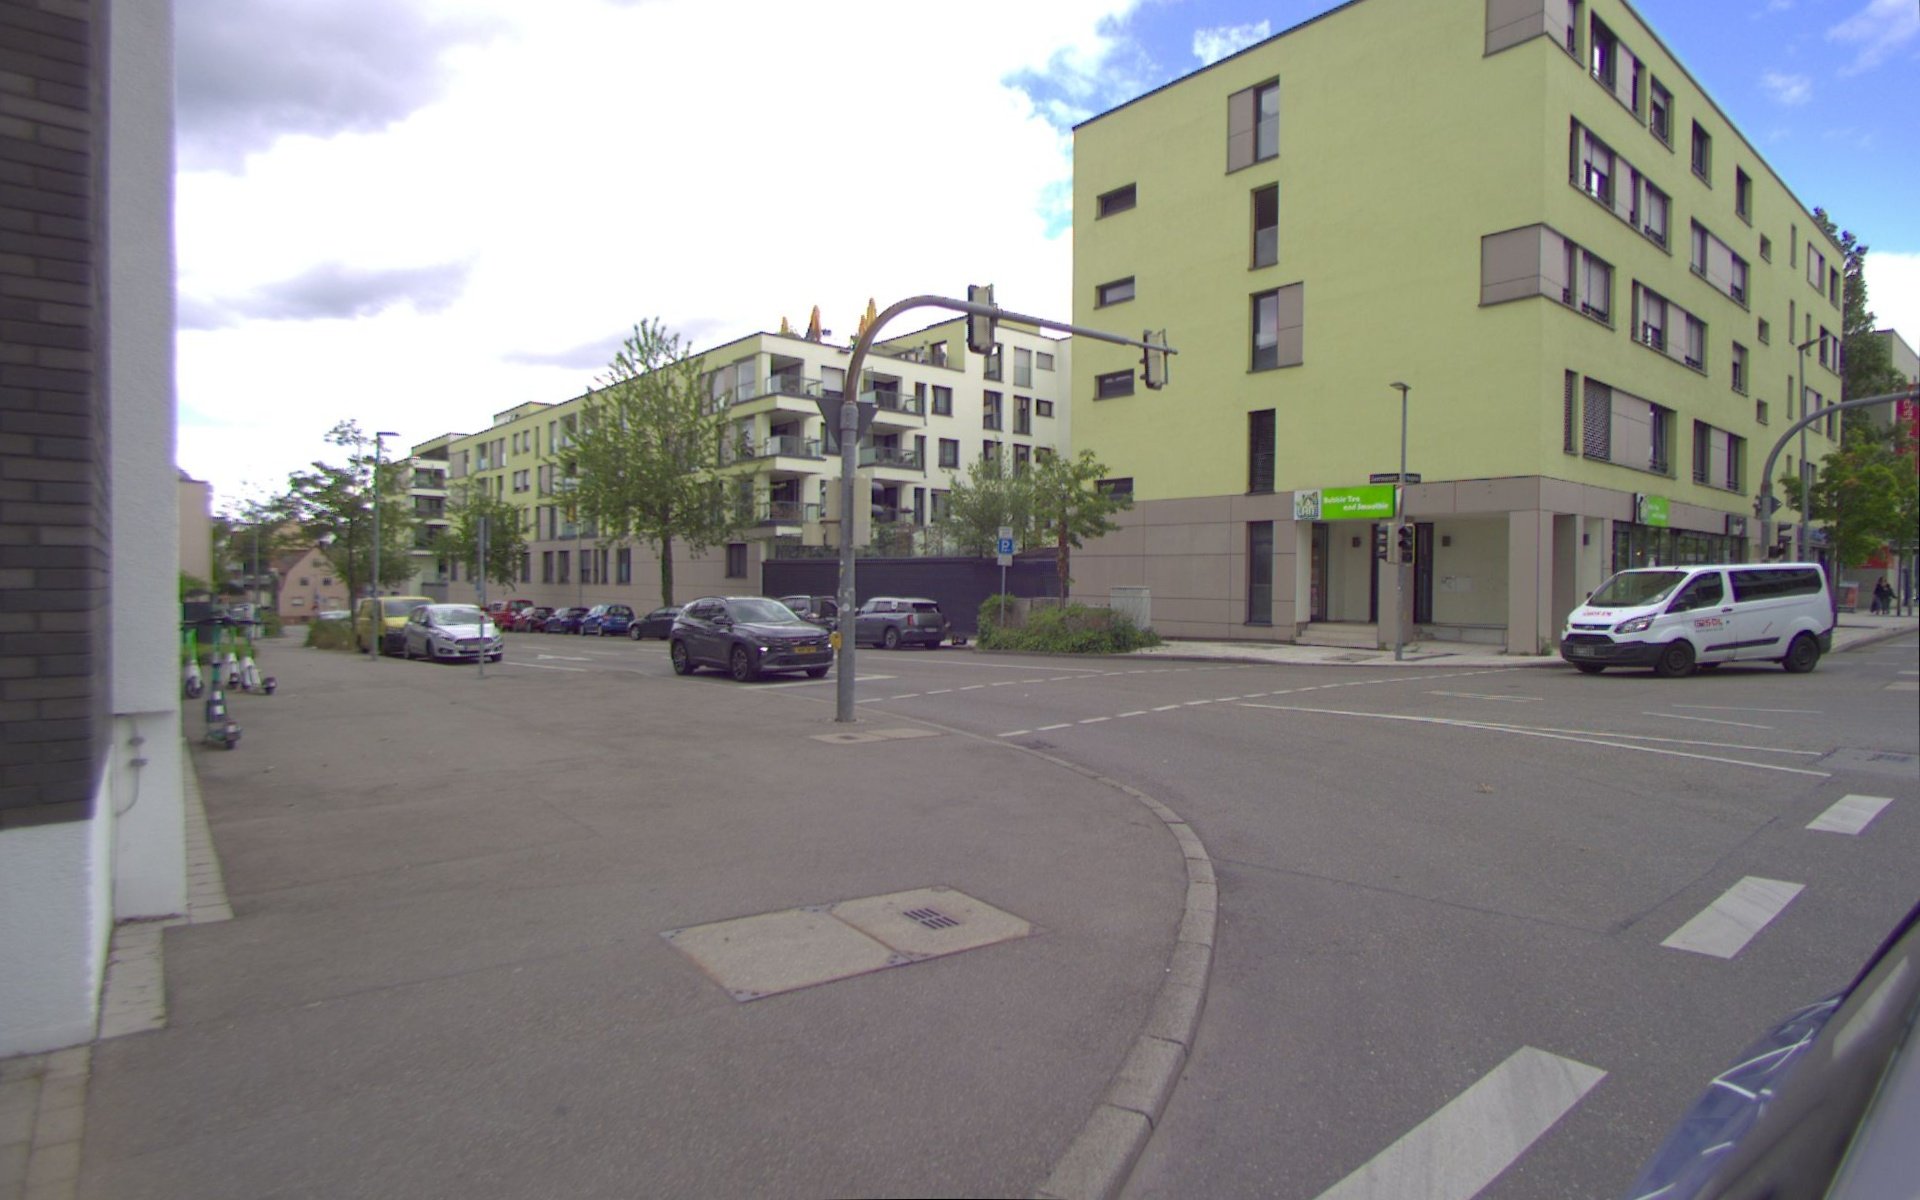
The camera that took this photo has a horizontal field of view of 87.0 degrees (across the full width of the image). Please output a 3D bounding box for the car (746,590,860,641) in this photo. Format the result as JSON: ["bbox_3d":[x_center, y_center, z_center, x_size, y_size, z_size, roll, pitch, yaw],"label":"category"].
[{"bbox_3d":[-5.683,0.551,36.311,1.936,1.682,4.414,-1,0,-42],"label":"car"}]

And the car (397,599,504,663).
[{"bbox_3d":[-14.468,0.836,28.595,1.776,1.651,4.418,-1,0,-39],"label":"car"}]

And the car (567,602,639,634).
[{"bbox_3d":[-17.828,0.889,50.451,1.935,1.514,4.417,-1,0,-40],"label":"car"}]

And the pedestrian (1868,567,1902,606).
[{"bbox_3d":[39.494,-0.585,43.205,0.998,1.603,0.949,-1,1,-41],"label":"pedestrian"}]

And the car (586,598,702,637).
[{"bbox_3d":[-13.185,0.717,42.201,4.371,1.514,1.955,-1,0,22],"label":"car"}]

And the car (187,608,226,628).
[{"bbox_3d":[-62.633,1.483,84.058,1.967,1.559,4.793,-1,0,-44],"label":"car"}]

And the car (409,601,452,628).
[{"bbox_3d":[-40.177,1.071,76.736,1.935,1.952,4.417,-1,0,-40],"label":"car"}]

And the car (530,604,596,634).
[{"bbox_3d":[-21.369,1.014,54.393,1.935,1.514,4.417,-1,0,-40],"label":"car"}]

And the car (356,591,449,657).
[{"bbox_3d":[-17.980,0.742,32.528,1.776,1.949,4.626,-1,0,-39],"label":"car"}]

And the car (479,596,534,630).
[{"bbox_3d":[-27.943,0.812,62.269,1.935,2.003,4.417,-1,0,-40],"label":"car"}]

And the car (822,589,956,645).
[{"bbox_3d":[-2.321,0.533,32.162,1.936,1.636,4.414,-1,0,-42],"label":"car"}]

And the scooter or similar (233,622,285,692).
[{"bbox_3d":[-11.378,0.908,16.422,1.226,1.092,0.359,-1,0,39],"label":"scooter or similar"}]

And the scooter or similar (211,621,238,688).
[{"bbox_3d":[-12.759,0.928,17.566,0.357,1.092,1.177,-1,0,-36],"label":"scooter or similar"}]

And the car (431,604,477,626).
[{"bbox_3d":[-35.970,1.050,71.942,1.935,1.514,4.417,-1,0,-40],"label":"car"}]

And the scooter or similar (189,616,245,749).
[{"bbox_3d":[-7.469,0.789,10.157,0.399,1.251,1.233,-1,-1,-39],"label":"scooter or similar"}]

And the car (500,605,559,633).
[{"bbox_3d":[-24.949,1.094,58.560,1.935,1.514,4.417,-1,0,-40],"label":"car"}]

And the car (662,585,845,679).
[{"bbox_3d":[-4.242,0.595,20.388,1.917,1.680,4.095,-1,0,-39],"label":"car"}]

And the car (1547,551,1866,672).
[{"bbox_3d":[13.688,0.170,18.635,4.896,2.013,2.005,-1,0,-14],"label":"car"}]

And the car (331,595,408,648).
[{"bbox_3d":[-21.862,0.768,37.404,1.776,1.817,4.418,-1,0,-39],"label":"car"}]

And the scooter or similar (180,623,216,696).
[{"bbox_3d":[-12.052,0.922,16.024,0.357,1.092,1.233,-1,0,-33],"label":"scooter or similar"}]

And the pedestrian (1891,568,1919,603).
[{"bbox_3d":[44.057,-0.672,47.185,0.790,1.603,0.870,-1,1,-41],"label":"pedestrian"}]
